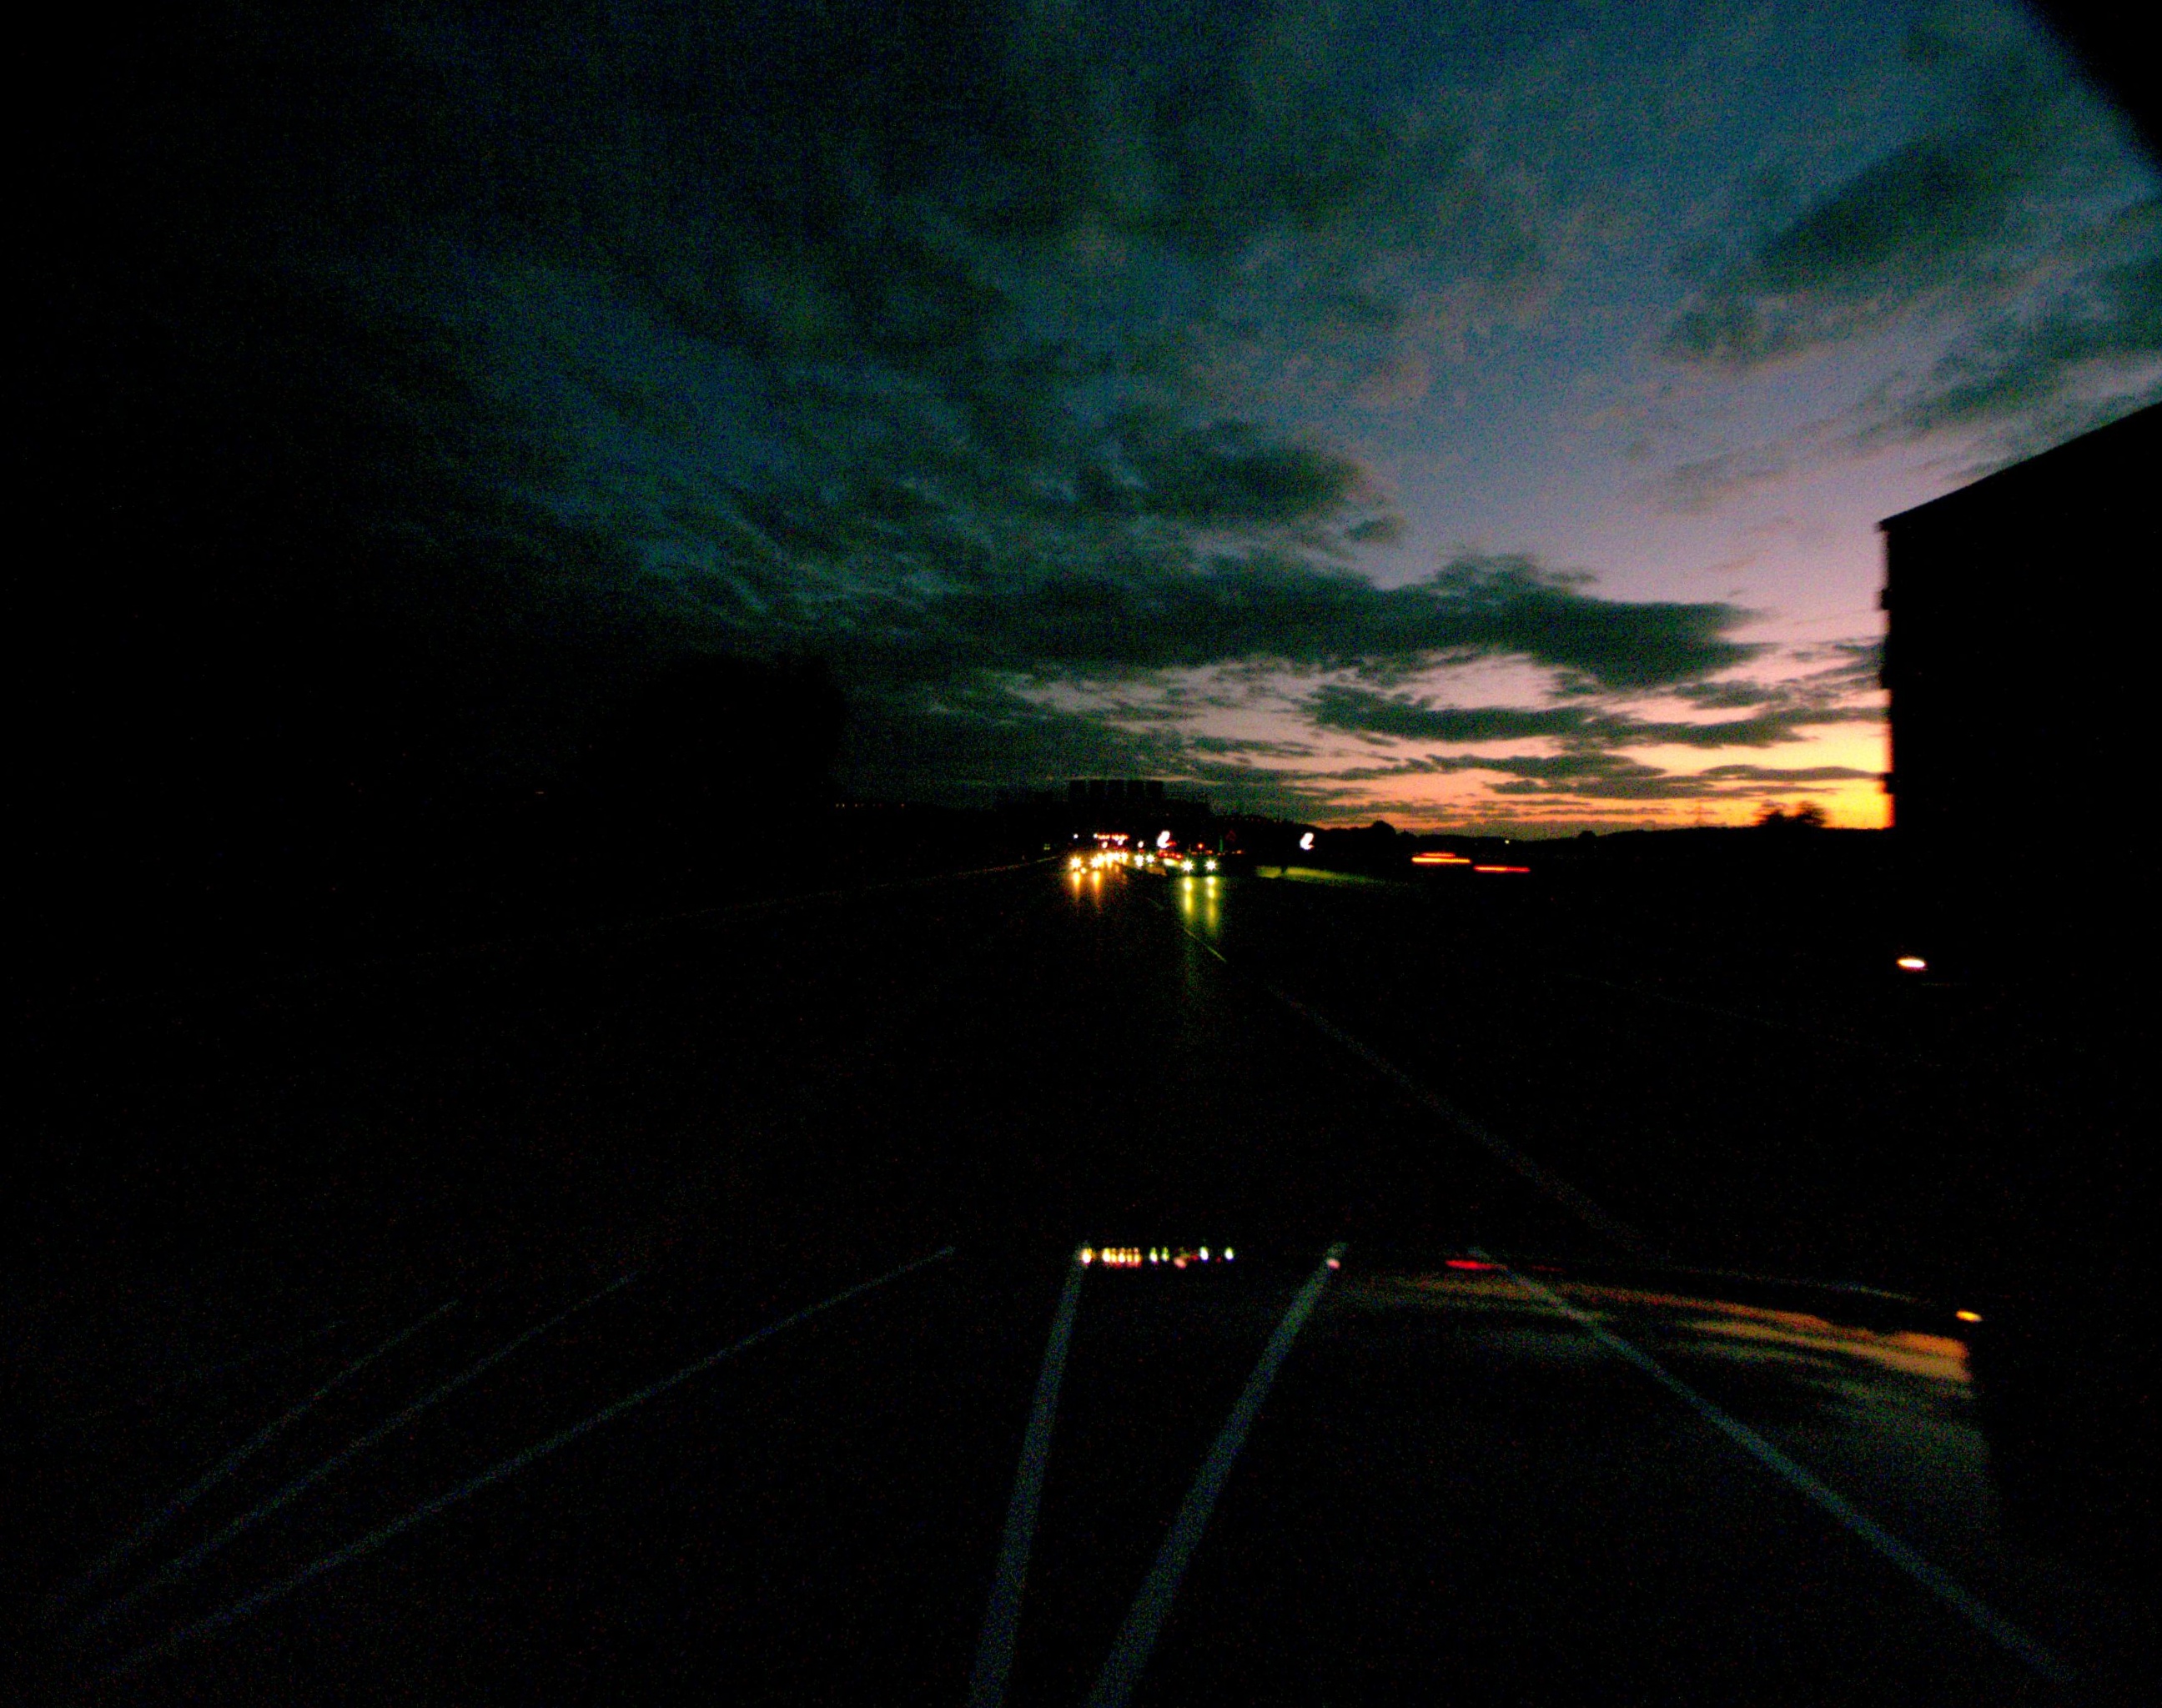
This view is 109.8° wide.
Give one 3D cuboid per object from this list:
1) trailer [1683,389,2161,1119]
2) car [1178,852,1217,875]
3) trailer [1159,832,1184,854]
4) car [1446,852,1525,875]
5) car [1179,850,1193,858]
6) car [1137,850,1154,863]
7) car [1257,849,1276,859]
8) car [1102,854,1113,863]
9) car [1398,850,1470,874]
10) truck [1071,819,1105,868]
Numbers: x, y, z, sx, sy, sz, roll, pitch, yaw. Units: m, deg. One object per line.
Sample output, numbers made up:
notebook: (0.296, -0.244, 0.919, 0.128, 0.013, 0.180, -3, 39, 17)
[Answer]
trailer: (7.363, -0.525, 0.401, 2.801, 4.061, 14.524, -1, 1, 1)
car: (7.927, 0.620, 52.066, 1.819, 1.429, 5.394, -2, 1, 0)
trailer: (26.097, -3.142, 220.779, 5.317, 5.752, 19.211, -2, 1, 1)
car: (20.094, 0.450, 37.998, 1.584, 0.983, 4.524, -2, 1, 1)
car: (17.605, -0.007, 127.342, 1.867, 1.197, 4.000, -2, 1, 1)
car: (8.705, 0.373, 102.735, 1.819, 1.638, 4.856, -2, 1, 0)
car: (23.979, -0.004, 98.364, 1.540, 1.184, 3.609, -2, 1, 1)
car: (4.735, 0.777, 137.953, 1.802, 1.531, 4.159, -2, 1, 0)
car: (16.223, 0.356, 35.132, 1.697, 0.983, 3.565, -2, 1, 1)
truck: (0.735, -0.939, 77.734, 3.012, 4.570, 12.578, -2, 0, 0)
